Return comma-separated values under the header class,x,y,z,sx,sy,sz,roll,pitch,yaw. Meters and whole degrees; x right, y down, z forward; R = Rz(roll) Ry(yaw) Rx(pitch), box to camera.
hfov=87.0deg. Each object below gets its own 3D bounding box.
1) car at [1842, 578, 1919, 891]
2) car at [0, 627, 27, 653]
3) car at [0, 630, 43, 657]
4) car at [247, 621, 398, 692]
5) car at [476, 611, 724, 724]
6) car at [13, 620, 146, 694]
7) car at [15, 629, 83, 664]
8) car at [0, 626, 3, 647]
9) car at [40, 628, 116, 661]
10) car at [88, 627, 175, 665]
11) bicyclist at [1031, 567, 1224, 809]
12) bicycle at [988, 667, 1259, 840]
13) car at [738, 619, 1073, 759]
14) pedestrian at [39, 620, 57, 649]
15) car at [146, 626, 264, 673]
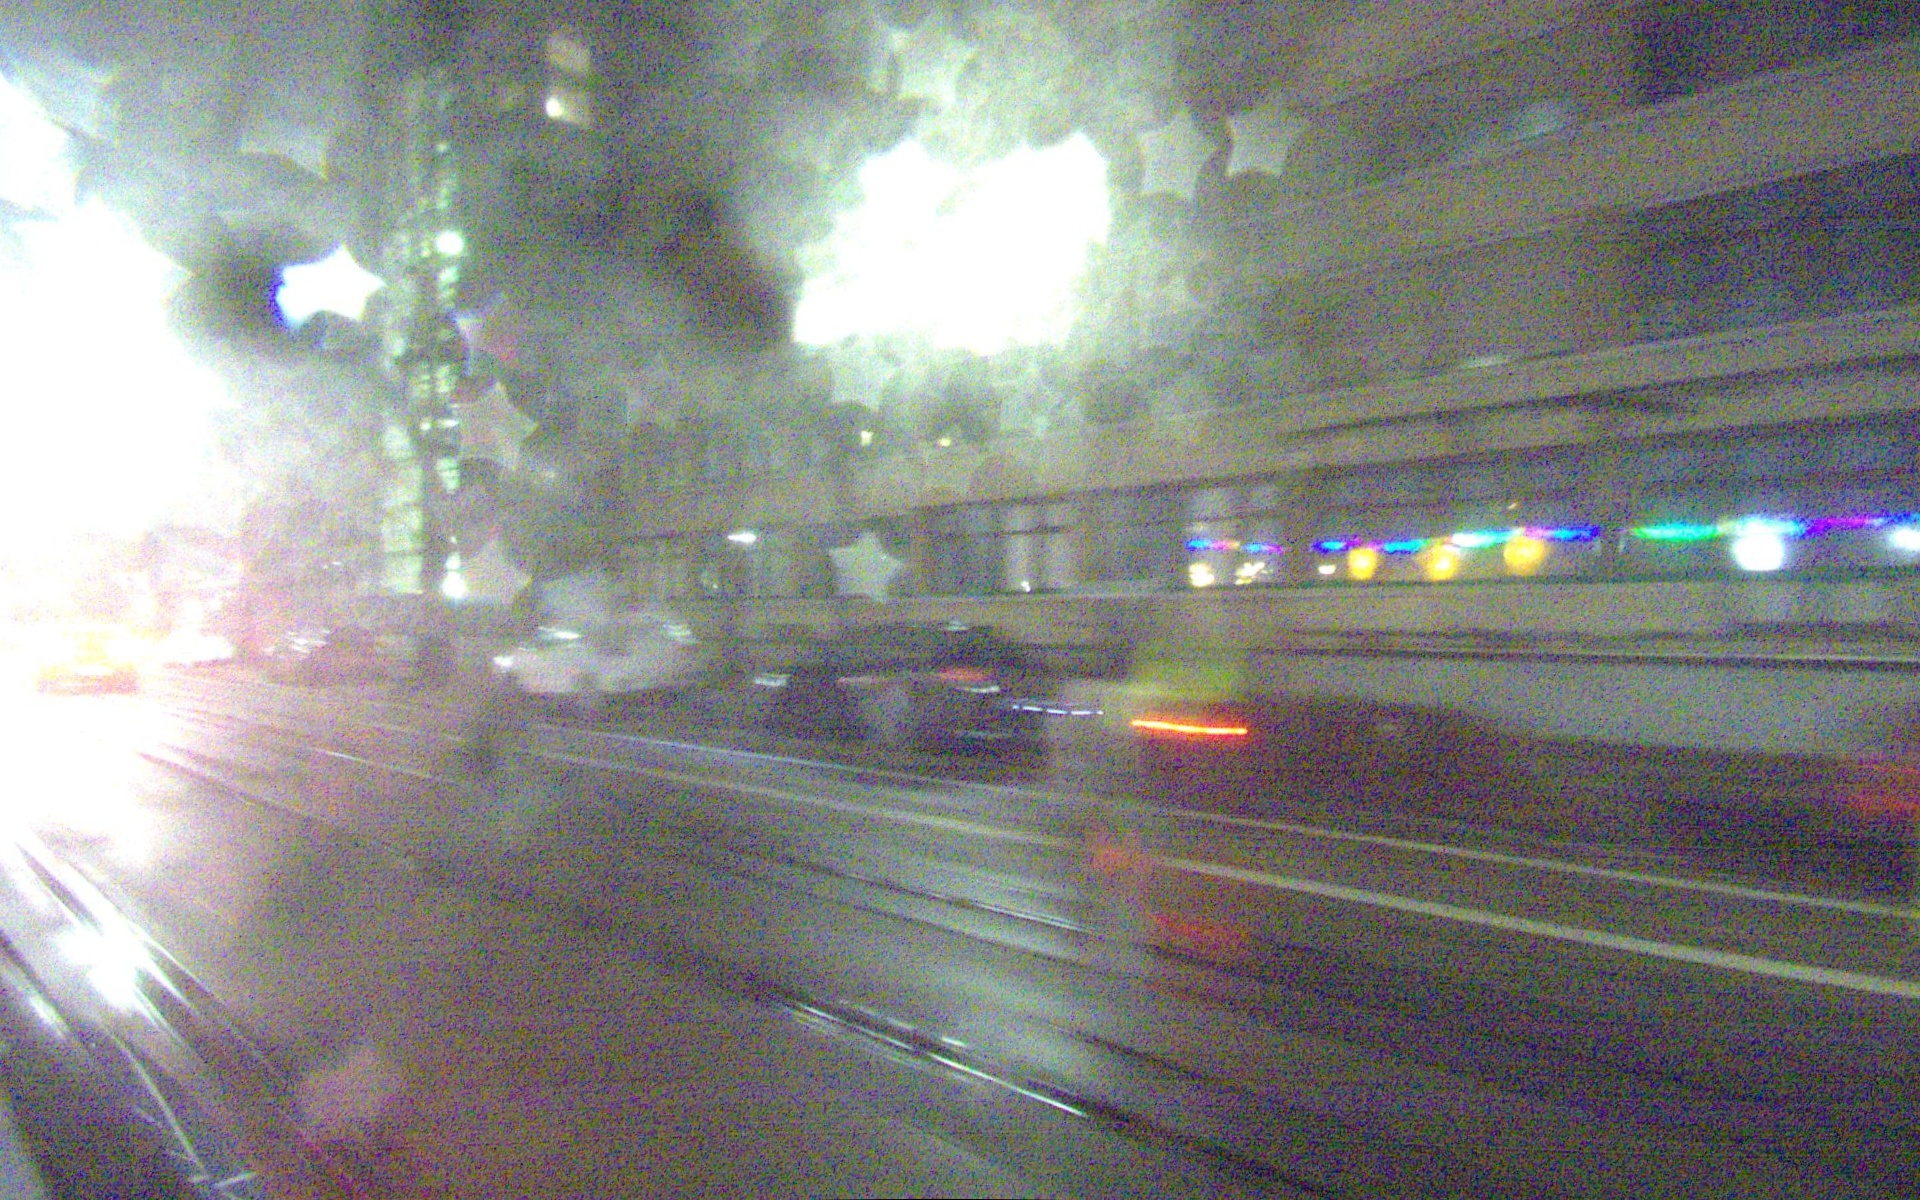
class,x,y,z,sx,sy,sz,roll,pitch,yaw
car,7.298,0.686,4.846,4.600,1.668,1.948,-1,1,42
car,-64.135,2.678,67.894,4.351,1.590,1.791,-2,1,41
car,-56.406,2.569,60.572,4.624,1.449,1.713,-1,-1,41
car,-16.362,1.378,25.915,4.393,1.557,1.863,-1,2,38
car,-6.130,1.017,16.961,4.514,1.643,1.963,-1,-1,41
car,-19.997,1.237,22.937,4.049,1.529,1.757,-2,-2,41
car,-49.220,2.476,54.664,4.586,1.631,2.122,-1,1,41
car,-70.888,2.633,73.462,3.948,1.467,1.701,-1,-1,40
car,-40.910,2.027,46.904,4.601,1.451,1.756,-1,-2,37
car,-33.587,1.836,40.993,4.203,1.434,1.822,-1,-2,38
bicyclist,1.264,0.631,7.684,1.205,1.668,0.774,-1,-3,41
bicycle,1.204,1.089,7.708,1.917,1.090,0.774,-1,-3,41
car,-0.744,0.973,12.194,3.908,1.432,1.674,-2,-2,38
pedestrian,-60.981,2.311,67.664,1.290,1.916,0.784,-1,-1,41
car,-25.574,1.609,34.217,4.951,1.474,1.870,-1,-2,37
